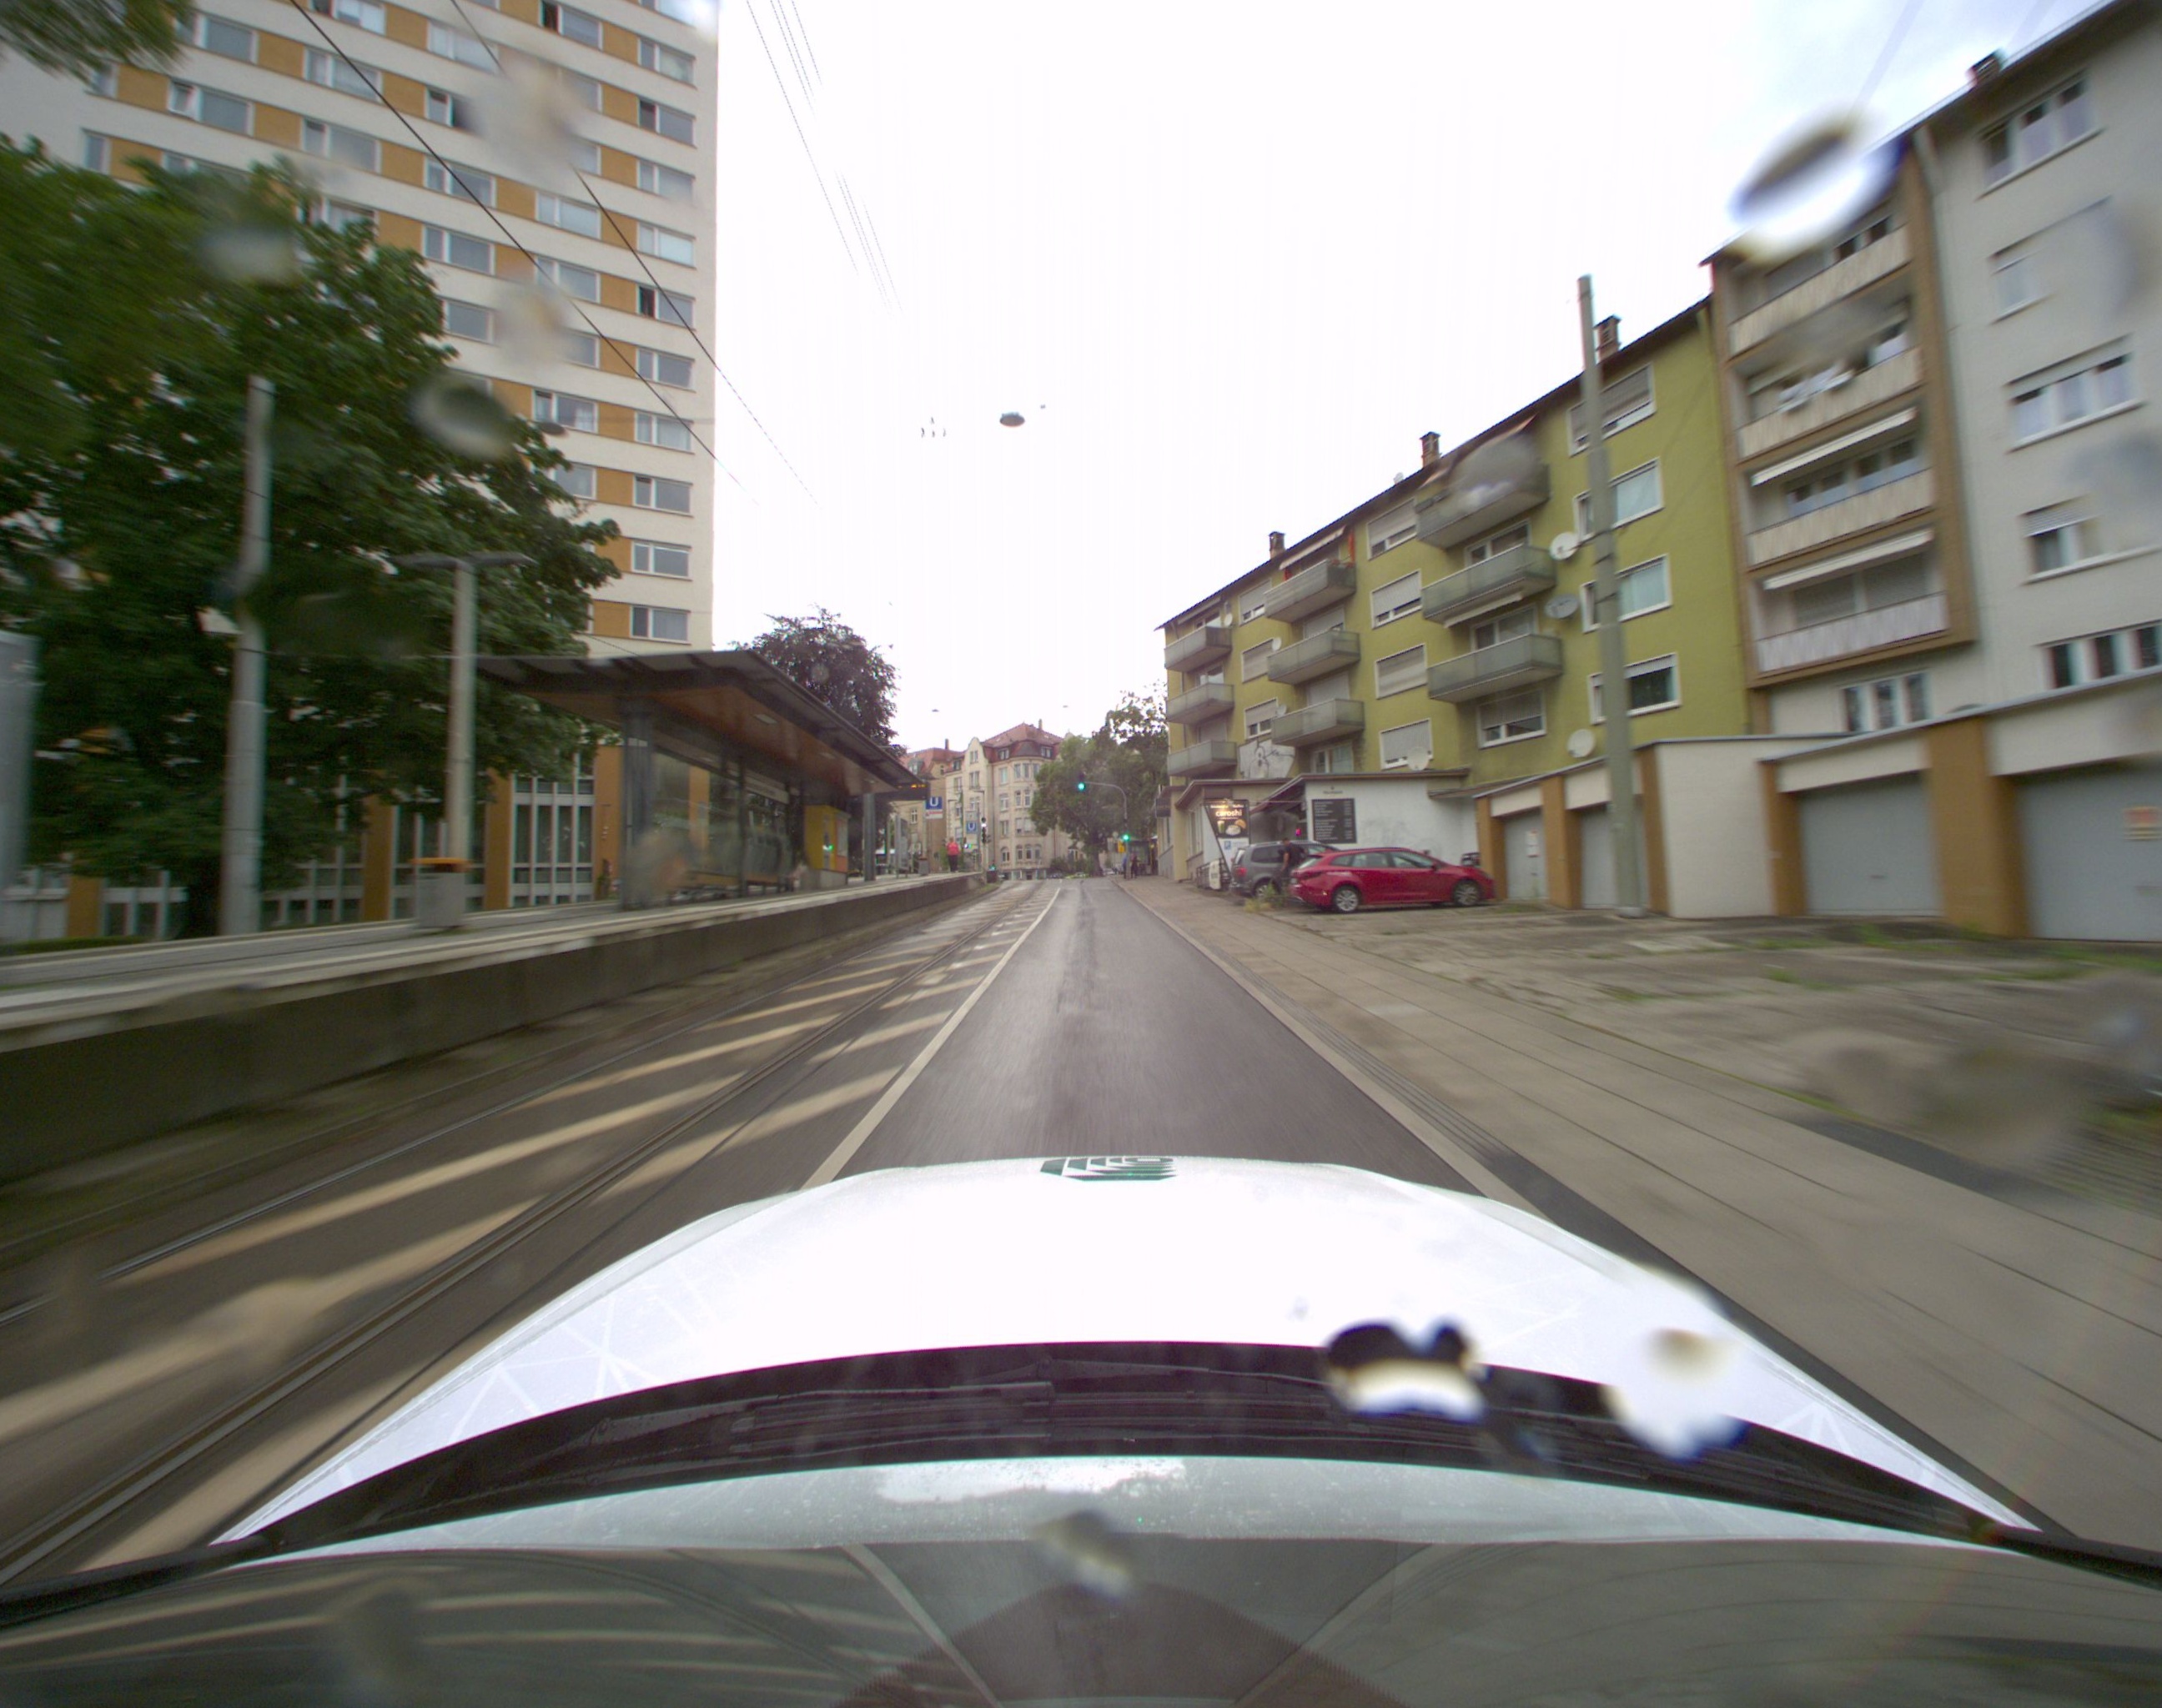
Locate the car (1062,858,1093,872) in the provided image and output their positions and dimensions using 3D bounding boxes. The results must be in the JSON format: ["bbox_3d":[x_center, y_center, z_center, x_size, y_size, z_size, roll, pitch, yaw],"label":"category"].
[{"bbox_3d":[-0.443,1.423,106.980,3.691,1.508,1.716,-3,0,-42],"label":"car"}]

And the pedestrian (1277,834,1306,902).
[{"bbox_3d":[5.513,0.355,21.356,0.602,1.714,0.724,-4,1,13],"label":"pedestrian"}]

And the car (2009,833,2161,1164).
[{"bbox_3d":[7.191,0.652,3.153,4.915,1.436,1.975,0,3,0],"label":"car"}]

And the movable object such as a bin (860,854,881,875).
[{"bbox_3d":[-14.161,0.695,54.872,1.017,1.433,1.304,0,0,2],"label":"movable object such as a bin"}]

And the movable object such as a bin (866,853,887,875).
[{"bbox_3d":[-14.147,0.690,56.410,1.017,1.433,1.356,0,0,2],"label":"movable object such as a bin"}]

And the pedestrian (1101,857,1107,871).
[{"bbox_3d":[2.586,1.100,92.196,0.600,1.566,0.544,0,0,-10],"label":"pedestrian"}]

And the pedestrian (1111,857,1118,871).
[{"bbox_3d":[3.786,1.126,91.053,0.548,1.629,0.595,0,0,-33],"label":"pedestrian"}]

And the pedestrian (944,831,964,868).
[{"bbox_3d":[-5.462,-0.215,35.055,0.669,1.548,0.771,-2,1,-1],"label":"pedestrian"}]

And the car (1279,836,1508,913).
[{"bbox_3d":[7.096,0.443,18.804,4.555,1.437,1.764,-3,0,-1],"label":"car"}]

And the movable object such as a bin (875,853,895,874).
[{"bbox_3d":[-13.976,0.657,58.008,1.017,1.433,1.445,0,0,2],"label":"movable object such as a bin"}]

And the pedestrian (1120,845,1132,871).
[{"bbox_3d":[2.762,0.227,49.624,0.586,1.554,0.649,-4,0,-1],"label":"pedestrian"}]

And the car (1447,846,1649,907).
[{"bbox_3d":[12.841,0.641,22.599,4.496,1.401,1.780,-3,-3,1],"label":"car"}]

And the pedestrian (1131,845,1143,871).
[{"bbox_3d":[3.426,0.236,49.954,0.544,1.554,0.558,-4,0,-3],"label":"pedestrian"}]

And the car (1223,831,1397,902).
[{"bbox_3d":[6.246,0.331,22.571,4.312,1.674,1.781,-3,0,2],"label":"car"}]

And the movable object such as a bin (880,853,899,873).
[{"bbox_3d":[-14.083,0.635,59.812,1.017,1.433,1.428,0,0,2],"label":"movable object such as a bin"}]

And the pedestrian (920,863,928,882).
[{"bbox_3d":[-13.823,1.622,71.592,0.568,1.684,0.773,-3,-1,-8],"label":"pedestrian"}]
